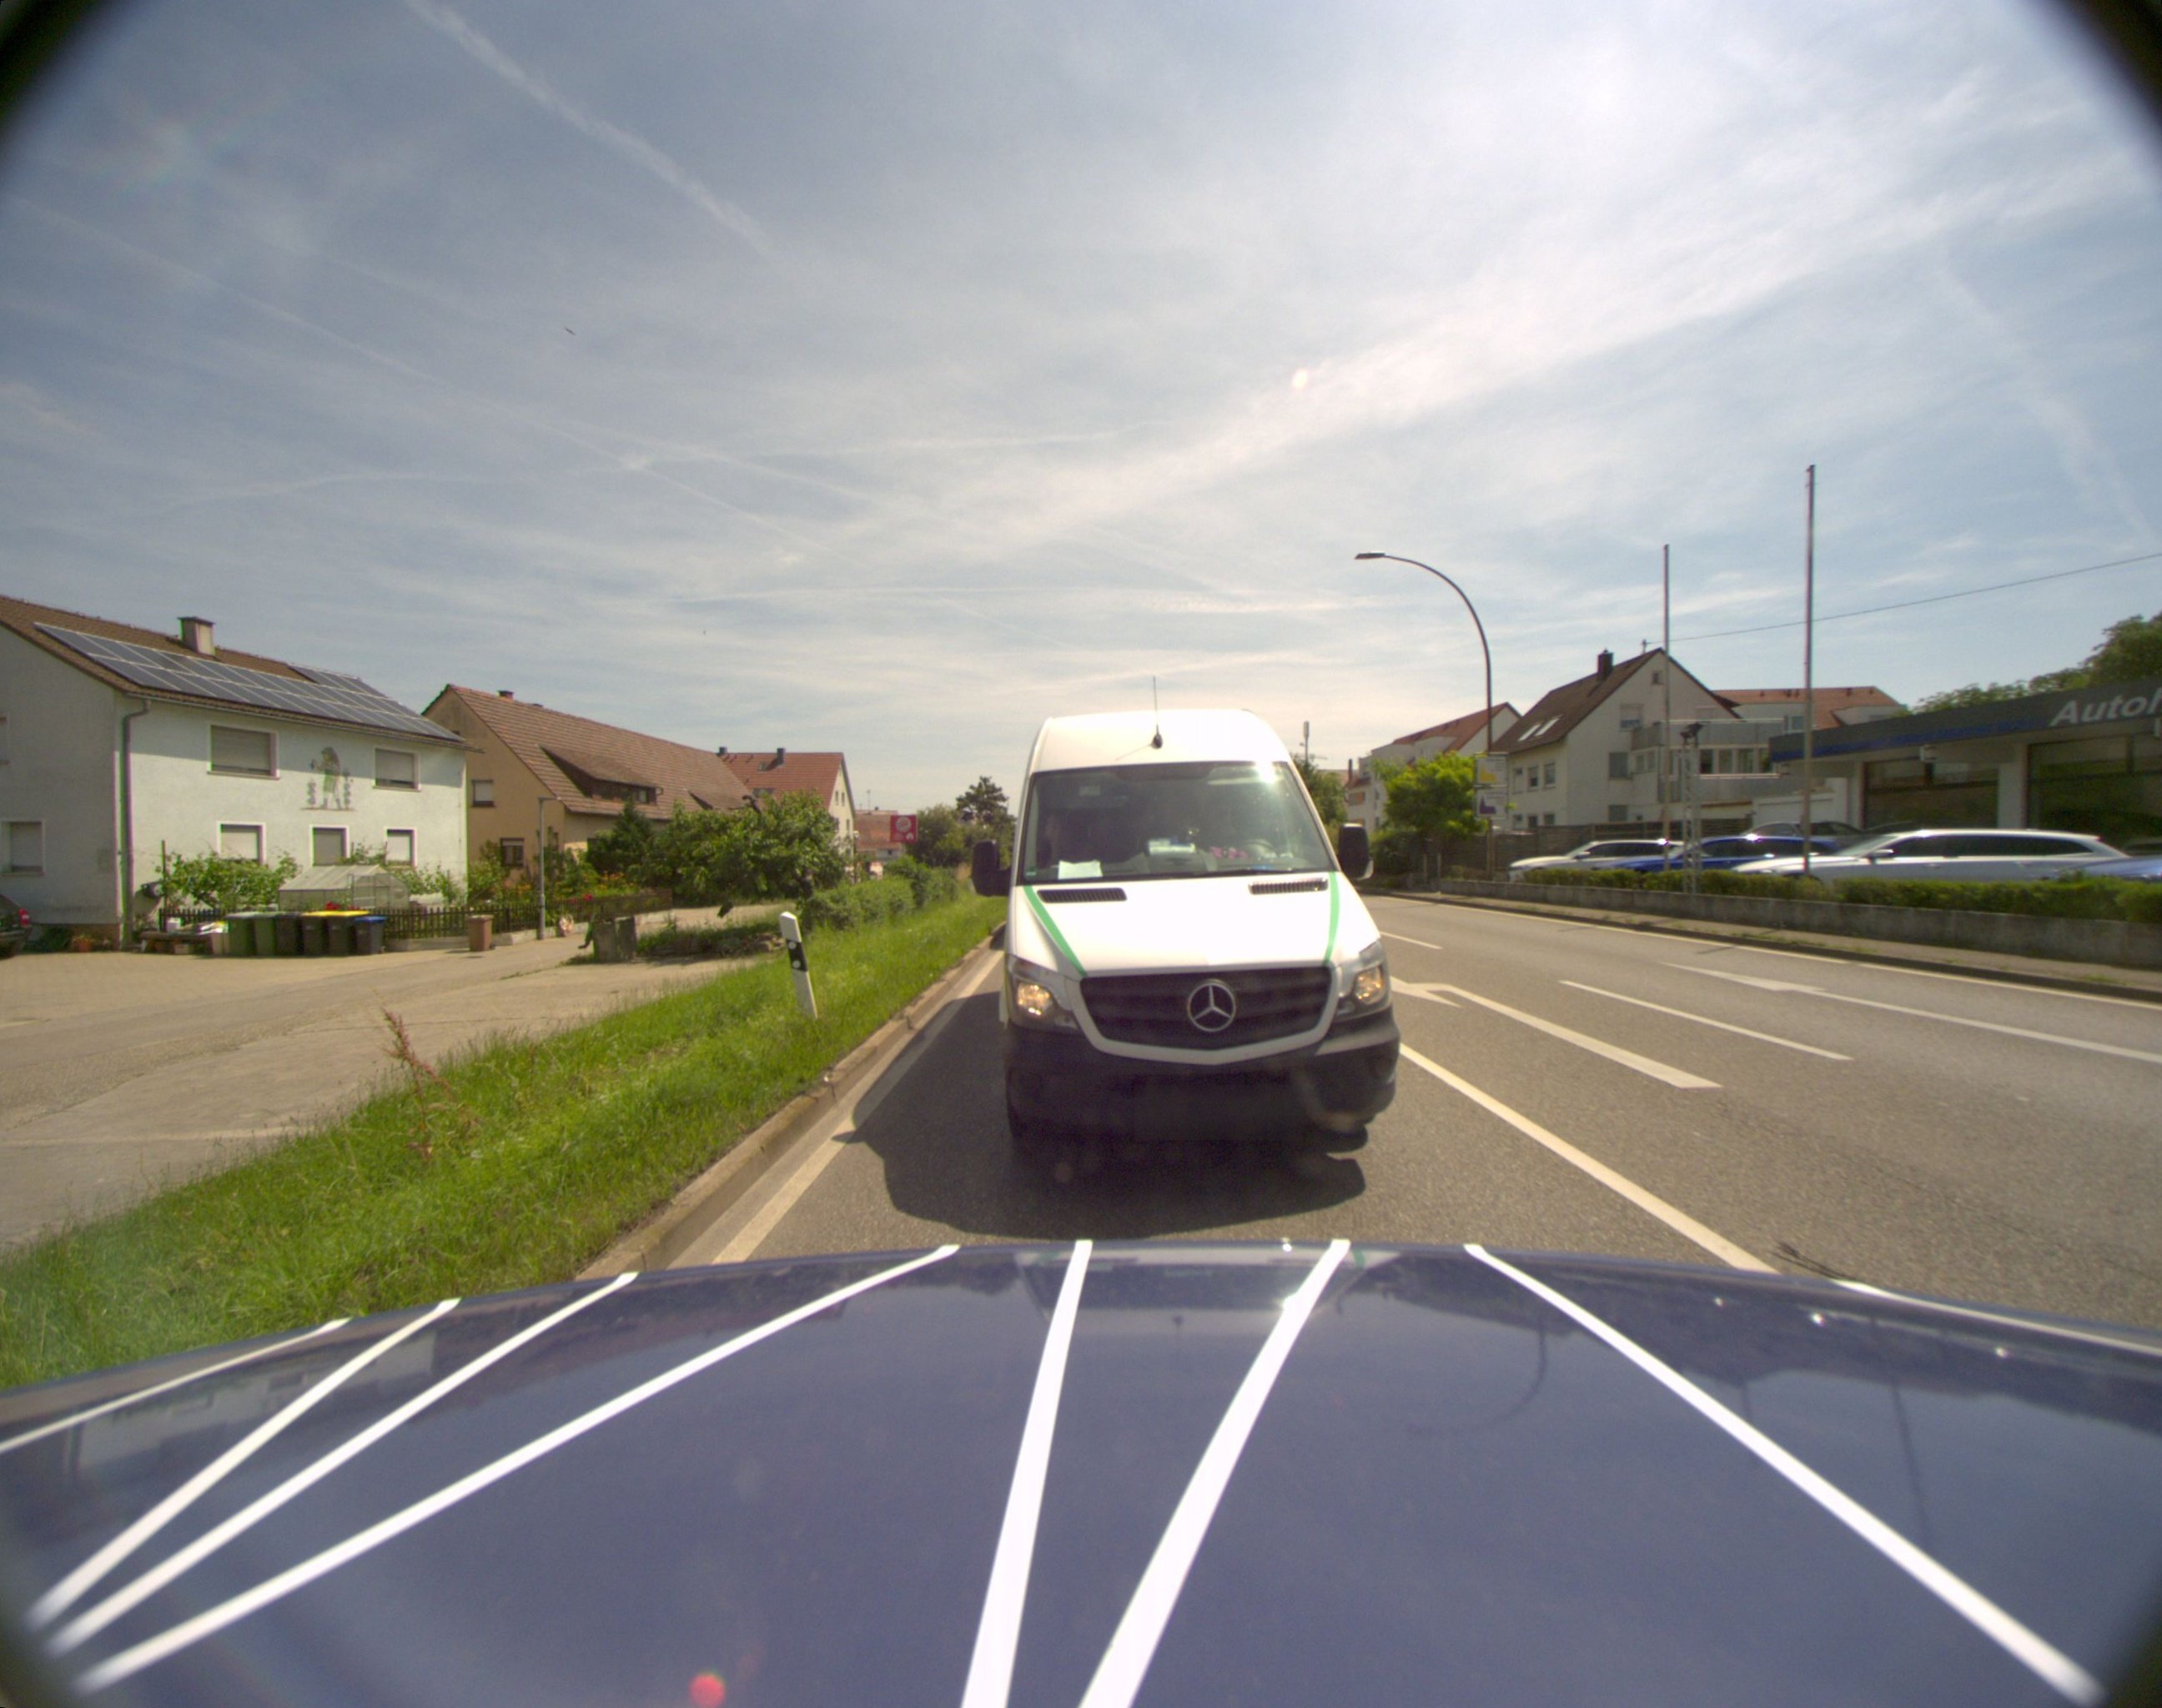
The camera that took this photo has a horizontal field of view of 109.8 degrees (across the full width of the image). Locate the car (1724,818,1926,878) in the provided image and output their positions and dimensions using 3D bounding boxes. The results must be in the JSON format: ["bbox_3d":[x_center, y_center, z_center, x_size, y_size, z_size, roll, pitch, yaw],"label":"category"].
[{"bbox_3d":[20.903,-0.161,21.666,1.807,1.456,4.585,-2,0,10],"label":"car"}]

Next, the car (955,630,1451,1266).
[{"bbox_3d":[0.497,0.374,5.940,1.939,2.514,5.748,-2,0,0],"label":"car"}]

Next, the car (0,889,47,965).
[{"bbox_3d":[-26.821,1.714,17.369,3.957,1.683,1.844,0,1,3],"label":"car"}]

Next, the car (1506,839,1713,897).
[{"bbox_3d":[14.550,0.401,21.273,4.568,1.439,1.860,-2,2,29],"label":"car"}]

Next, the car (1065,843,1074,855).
[{"bbox_3d":[-2.604,-1.184,172.874,1.998,2.574,3.999,-2,1,0],"label":"car"}]

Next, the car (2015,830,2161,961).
[{"bbox_3d":[14.436,0.418,8.703,4.331,1.439,1.860,-2,1,26],"label":"car"}]

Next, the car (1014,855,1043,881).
[{"bbox_3d":[-3.442,0.910,50.315,1.636,1.476,3.551,-4,1,-1],"label":"car"}]

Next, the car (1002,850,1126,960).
[{"bbox_3d":[-0.284,0.807,14.472,1.884,1.652,4.625,-4,0,0],"label":"car"}]

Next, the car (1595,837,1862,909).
[{"bbox_3d":[14.450,0.428,17.336,4.331,1.439,1.860,-2,2,29],"label":"car"}]

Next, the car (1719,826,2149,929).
[{"bbox_3d":[14.130,0.428,13.068,4.505,1.439,1.860,-4,0,30],"label":"car"}]
